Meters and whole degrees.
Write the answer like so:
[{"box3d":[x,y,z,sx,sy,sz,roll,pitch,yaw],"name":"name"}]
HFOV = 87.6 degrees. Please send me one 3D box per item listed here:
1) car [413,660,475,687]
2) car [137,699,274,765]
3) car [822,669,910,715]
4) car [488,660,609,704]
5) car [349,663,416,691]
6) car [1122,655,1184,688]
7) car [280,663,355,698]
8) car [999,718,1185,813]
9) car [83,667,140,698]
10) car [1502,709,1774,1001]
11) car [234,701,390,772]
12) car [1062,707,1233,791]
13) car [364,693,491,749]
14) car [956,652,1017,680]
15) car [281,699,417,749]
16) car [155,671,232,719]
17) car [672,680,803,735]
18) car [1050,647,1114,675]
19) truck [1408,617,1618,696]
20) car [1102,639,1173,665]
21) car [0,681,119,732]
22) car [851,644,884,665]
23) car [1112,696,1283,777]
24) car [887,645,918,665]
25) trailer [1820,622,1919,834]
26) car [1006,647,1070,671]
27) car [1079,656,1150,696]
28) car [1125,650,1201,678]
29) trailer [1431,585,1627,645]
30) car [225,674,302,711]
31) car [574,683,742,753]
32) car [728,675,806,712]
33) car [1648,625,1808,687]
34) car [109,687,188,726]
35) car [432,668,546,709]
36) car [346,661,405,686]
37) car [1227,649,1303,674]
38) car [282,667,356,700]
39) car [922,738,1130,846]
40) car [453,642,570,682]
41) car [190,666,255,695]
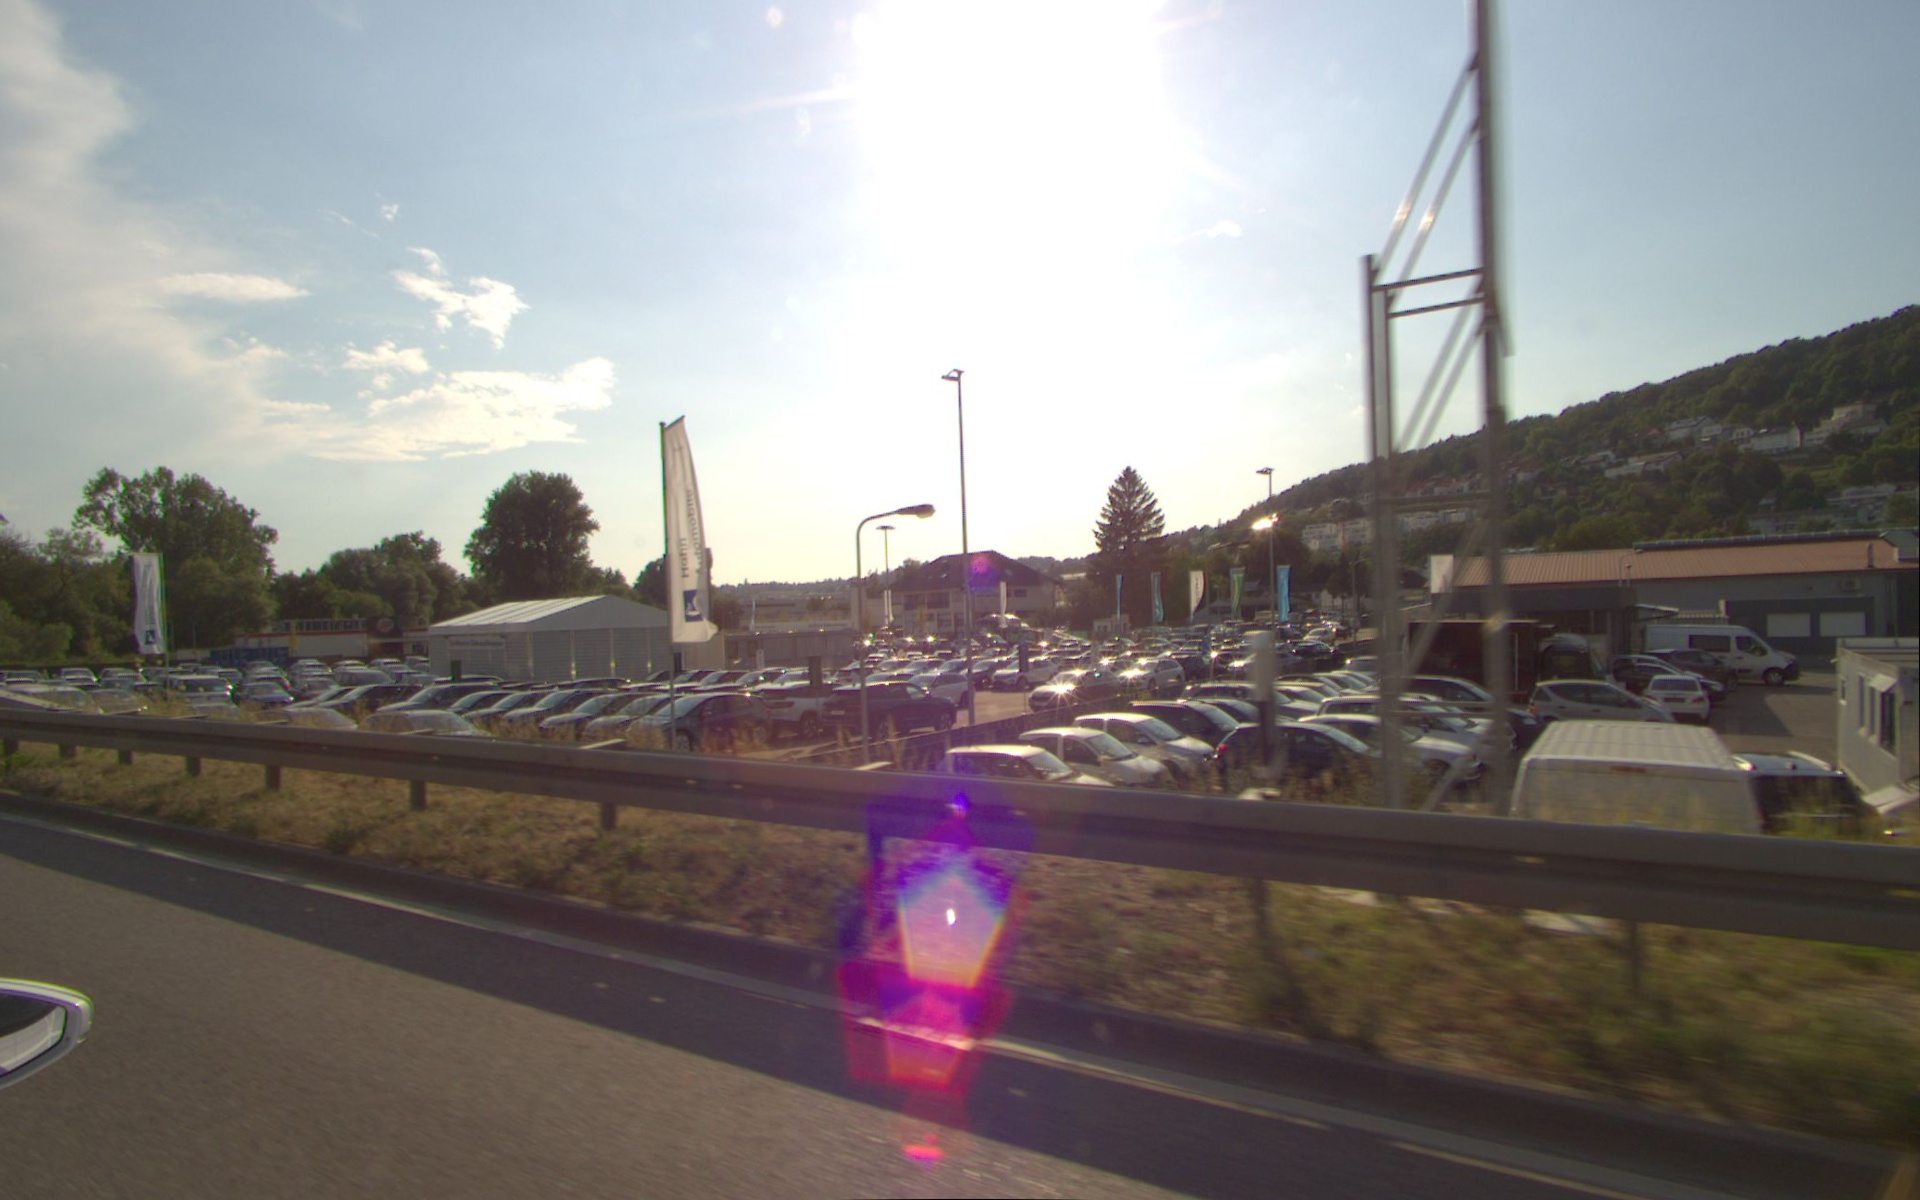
[{"box3d":[-34.236,4.844,66.395,4.515,1.656,1.874,-3,-3,36],"name":"car"},{"box3d":[-22.151,3.816,29.367,4.249,1.646,1.735,-2,-2,31],"name":"car"},{"box3d":[-4.638,4.510,49.520,3.961,2.039,1.981,1,-3,-44],"name":"car"},{"box3d":[-17.327,3.424,42.310,1.863,1.656,4.409,-2,-3,38],"name":"car"},{"box3d":[-35.724,4.726,61.935,4.669,1.656,1.874,-3,-3,36],"name":"car"},{"box3d":[10.522,3.833,54.430,1.736,1.661,3.937,-2,-3,38],"name":"car"},{"box3d":[-31.166,3.867,48.508,4.677,1.541,1.871,-3,-3,41],"name":"car"},{"box3d":[2.774,3.459,21.369,3.620,1.631,1.593,-2,-3,36],"name":"car"},{"box3d":[-49.688,4.815,58.612,3.951,1.705,1.769,-3,-3,38],"name":"car"},{"box3d":[7.627,2.478,11.474,1.973,2.039,5.870,-2,-3,33],"name":"car"},{"box3d":[-17.573,3.633,27.129,4.246,1.646,1.736,-2,-2,28],"name":"car"},{"box3d":[4.376,3.441,23.570,3.620,1.631,1.593,-2,-3,36],"name":"car"},{"box3d":[-17.920,4.027,33.822,1.609,1.594,3.462,-2,-3,38],"name":"car"},{"box3d":[1.695,4.098,62.777,1.738,1.661,3.932,-3,-3,42],"name":"car"},{"box3d":[-25.072,5.031,41.220,1.863,1.656,4.409,-2,-3,38],"name":"car"},{"box3d":[-34.258,4.195,44.724,4.677,1.955,1.871,-3,-3,41],"name":"car"},{"box3d":[-7.913,3.787,35.916,1.863,1.656,4.409,-2,-3,38],"name":"car"},{"box3d":[7.026,3.481,57.373,1.809,1.521,3.973,-2,-3,38],"name":"car"},{"box3d":[18.118,1.844,32.979,5.889,2.400,1.989,-2,-2,34],"name":"truck"},{"box3d":[12.139,3.541,68.602,4.355,1.657,1.886,0,-2,-8],"name":"car"},{"box3d":[-32.437,3.763,35.832,4.655,1.646,1.880,-2,-2,27],"name":"car"},{"box3d":[-6.748,4.003,73.627,1.770,1.474,4.002,-1,-2,4],"name":"car"},{"box3d":[5.905,3.333,25.083,3.866,1.715,1.591,-3,-3,38],"name":"car"},{"box3d":[-4.347,4.177,76.396,1.770,1.474,4.002,-1,-2,4],"name":"car"},{"box3d":[18.580,2.098,18.411,3.314,3.364,7.860,-2,-3,35],"name":"trailer"},{"box3d":[5.734,4.316,73.955,4.355,1.657,1.886,0,-2,-8],"name":"car"},{"box3d":[7.885,3.841,50.913,1.903,1.883,3.973,-2,-3,38],"name":"car"},{"box3d":[12.862,4.055,63.578,4.355,1.657,1.886,0,-2,-8],"name":"car"},{"box3d":[21.228,0.629,37.562,6.203,2.048,1.988,-3,-3,36],"name":"trailer"},{"box3d":[-32.323,4.250,46.448,4.677,1.541,1.871,-3,-3,41],"name":"car"},{"box3d":[-8.647,3.331,28.962,1.863,1.656,4.409,-2,-3,38],"name":"car"},{"box3d":[-9.261,4.450,48.207,1.609,1.594,3.462,-2,-3,38],"name":"car"},{"box3d":[32.505,2.367,42.596,5.260,2.469,1.988,-2,-2,36],"name":"car"},{"box3d":[-39.282,5.095,48.430,4.669,1.656,1.874,-3,-3,37],"name":"car"},{"box3d":[-21.647,4.053,46.170,1.863,1.656,4.409,-2,-3,38],"name":"car"},{"box3d":[-40.942,5.117,70.149,4.669,1.656,1.874,-3,-3,36],"name":"car"},{"box3d":[17.630,3.535,57.897,3.928,1.304,1.620,0,-2,-15],"name":"car"},{"box3d":[-34.794,4.500,54.338,4.669,1.656,1.874,-3,-3,37],"name":"car"},{"box3d":[1.241,3.568,19.079,3.611,1.631,1.597,-2,-2,28],"name":"car"},{"box3d":[-19.749,2.697,44.263,1.863,1.656,4.409,-2,-3,38],"name":"car"},{"box3d":[-46.060,5.004,62.509,4.667,1.656,1.875,-2,-3,35],"name":"car"}]
